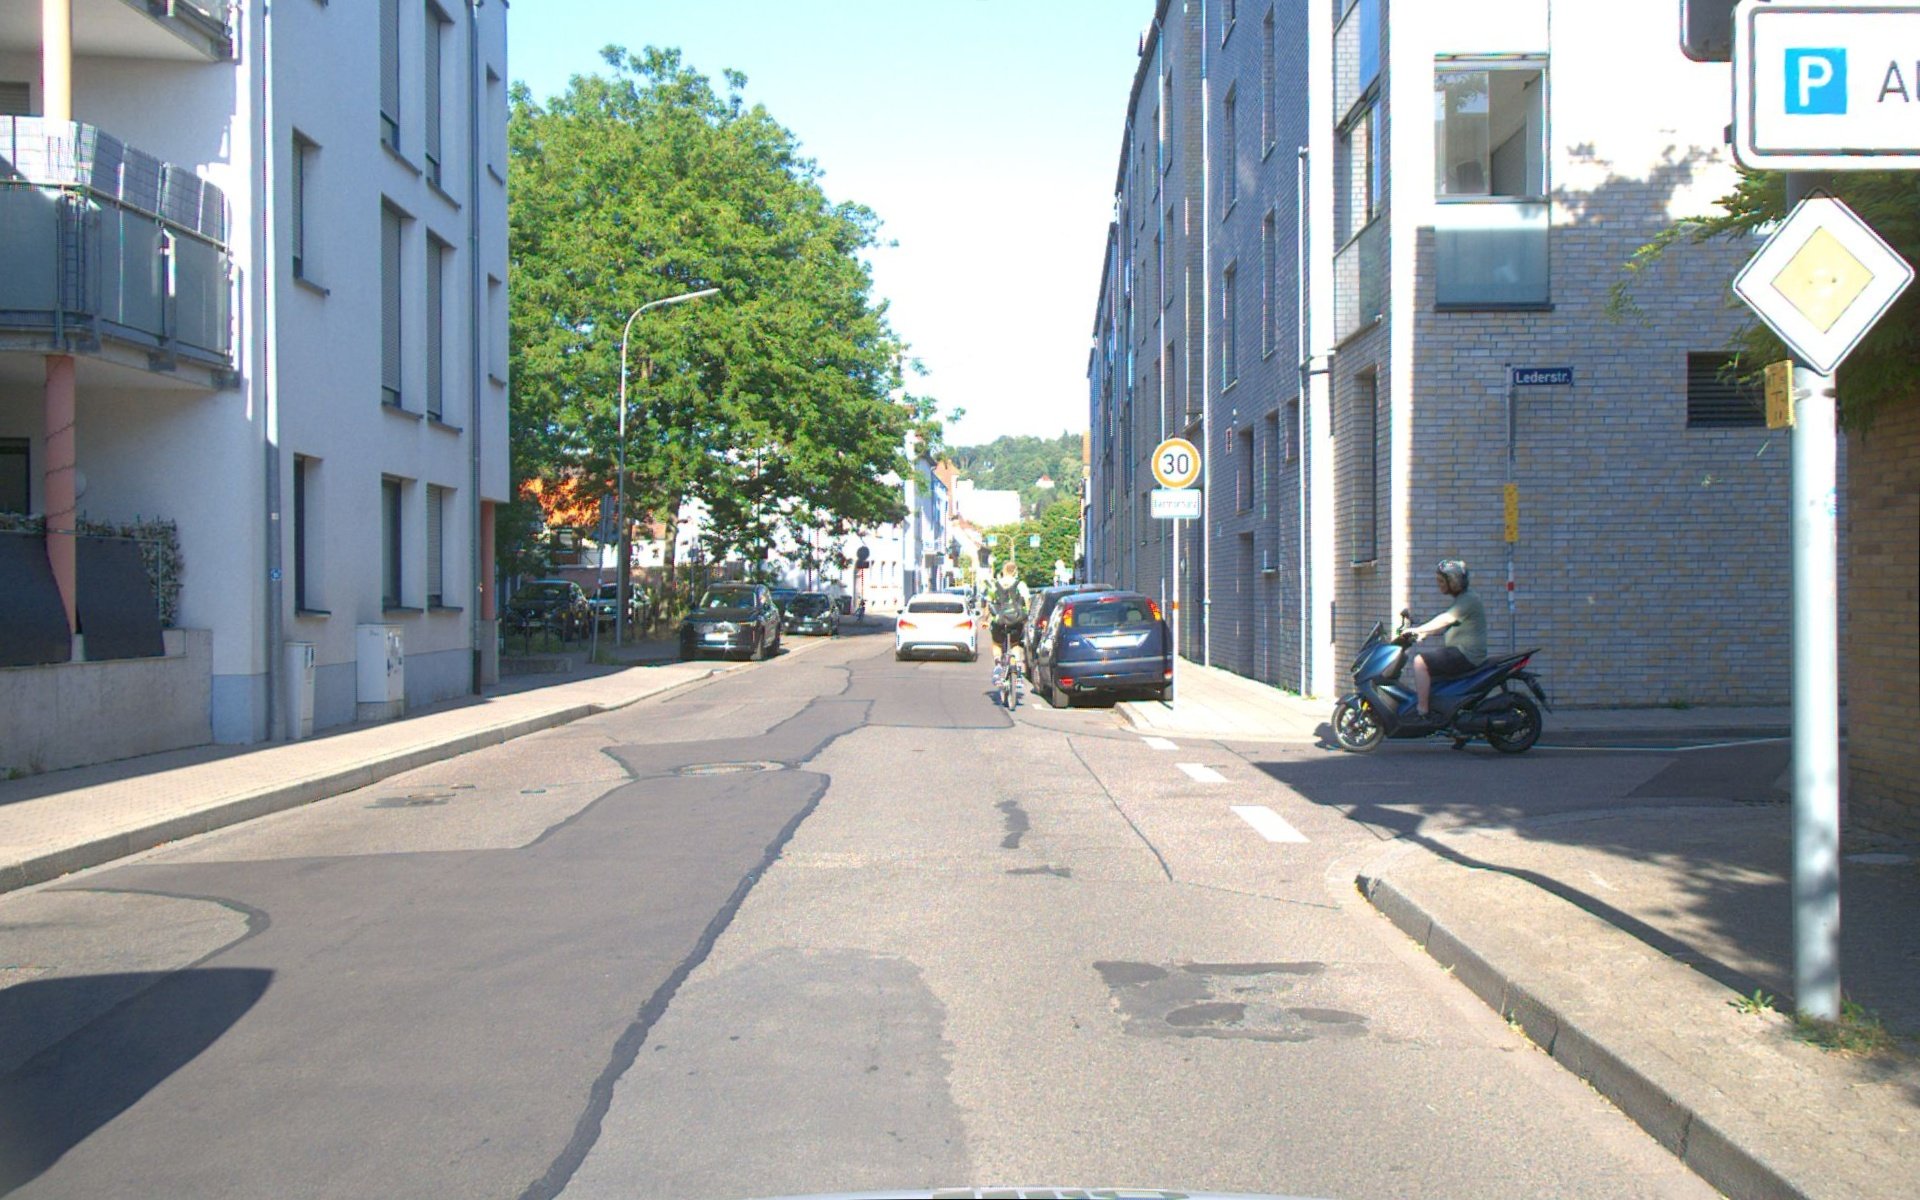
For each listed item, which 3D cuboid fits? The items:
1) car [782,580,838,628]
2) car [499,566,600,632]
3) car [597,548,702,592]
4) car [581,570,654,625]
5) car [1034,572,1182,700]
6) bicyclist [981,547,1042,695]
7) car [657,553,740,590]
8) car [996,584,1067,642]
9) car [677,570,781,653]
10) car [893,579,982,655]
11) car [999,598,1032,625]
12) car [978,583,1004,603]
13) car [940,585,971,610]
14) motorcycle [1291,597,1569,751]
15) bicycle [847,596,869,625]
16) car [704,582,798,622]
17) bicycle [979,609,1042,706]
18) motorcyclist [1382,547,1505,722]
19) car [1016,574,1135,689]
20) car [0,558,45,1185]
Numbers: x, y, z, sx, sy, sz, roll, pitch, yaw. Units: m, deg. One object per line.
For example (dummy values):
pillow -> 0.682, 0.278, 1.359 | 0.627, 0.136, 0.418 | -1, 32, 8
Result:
car -> -5.297, 0.131, 58.828 | 1.670, 1.603, 3.913 | 2, 0, -1
car -> -11.357, -0.034, 46.051 | 1.821, 1.614, 4.618 | 4, 0, -4
car -> -12.616, -1.215, 67.225 | 3.819, 1.603, 1.710 | 2, 0, 4
car -> -11.771, -0.083, 57.010 | 1.754, 1.719, 3.963 | 4, 0, -3
car -> 1.997, 0.482, 23.346 | 1.596, 1.615, 4.068 | -1, 0, -2
bicyclist -> 0.648, 0.265, 21.233 | 0.684, 1.821, 1.040 | 2, -1, 0
car -> -12.484, -1.348, 79.235 | 3.828, 1.603, 1.706 | 2, 0, -9
car -> 2.071, 0.394, 49.152 | 1.820, 1.615, 4.620 | -1, 0, -1
car -> -5.540, 0.259, 40.185 | 1.815, 1.822, 4.607 | 2, 0, 0
car -> -0.538, 0.378, 36.503 | 1.805, 1.517, 4.142 | 2, -1, -2
car -> 3.852, 0.786, 115.603 | 1.816, 1.822, 4.604 | 2, 0, -3
car -> 2.547, -0.566, 135.270 | 1.904, 1.615, 4.623 | -1, 0, 4
car -> -0.290, -0.152, 114.875 | 1.904, 1.615, 4.622 | -1, 0, 2
motorcycle -> 4.248, 0.644, 14.979 | 2.290, 1.303, 0.894 | 0, -2, 28
bicycle -> -4.550, 0.450, 73.719 | 0.818, 1.239, 2.841 | 2, 0, -1
car -> -9.197, 0.098, 72.803 | 3.820, 1.603, 1.710 | 2, 0, 1
bicycle -> 0.628, 0.713, 21.328 | 0.684, 1.150, 2.402 | 2, -1, 0
motorcyclist -> 4.370, 0.303, 14.922 | 0.859, 1.498, 0.894 | 2, -1, 28
car -> 1.886, 0.491, 27.931 | 1.630, 1.732, 3.913 | 2, 0, -1
car -> -3.165, 0.642, 2.105 | 1.805, 1.517, 4.142 | 0, -1, -2
